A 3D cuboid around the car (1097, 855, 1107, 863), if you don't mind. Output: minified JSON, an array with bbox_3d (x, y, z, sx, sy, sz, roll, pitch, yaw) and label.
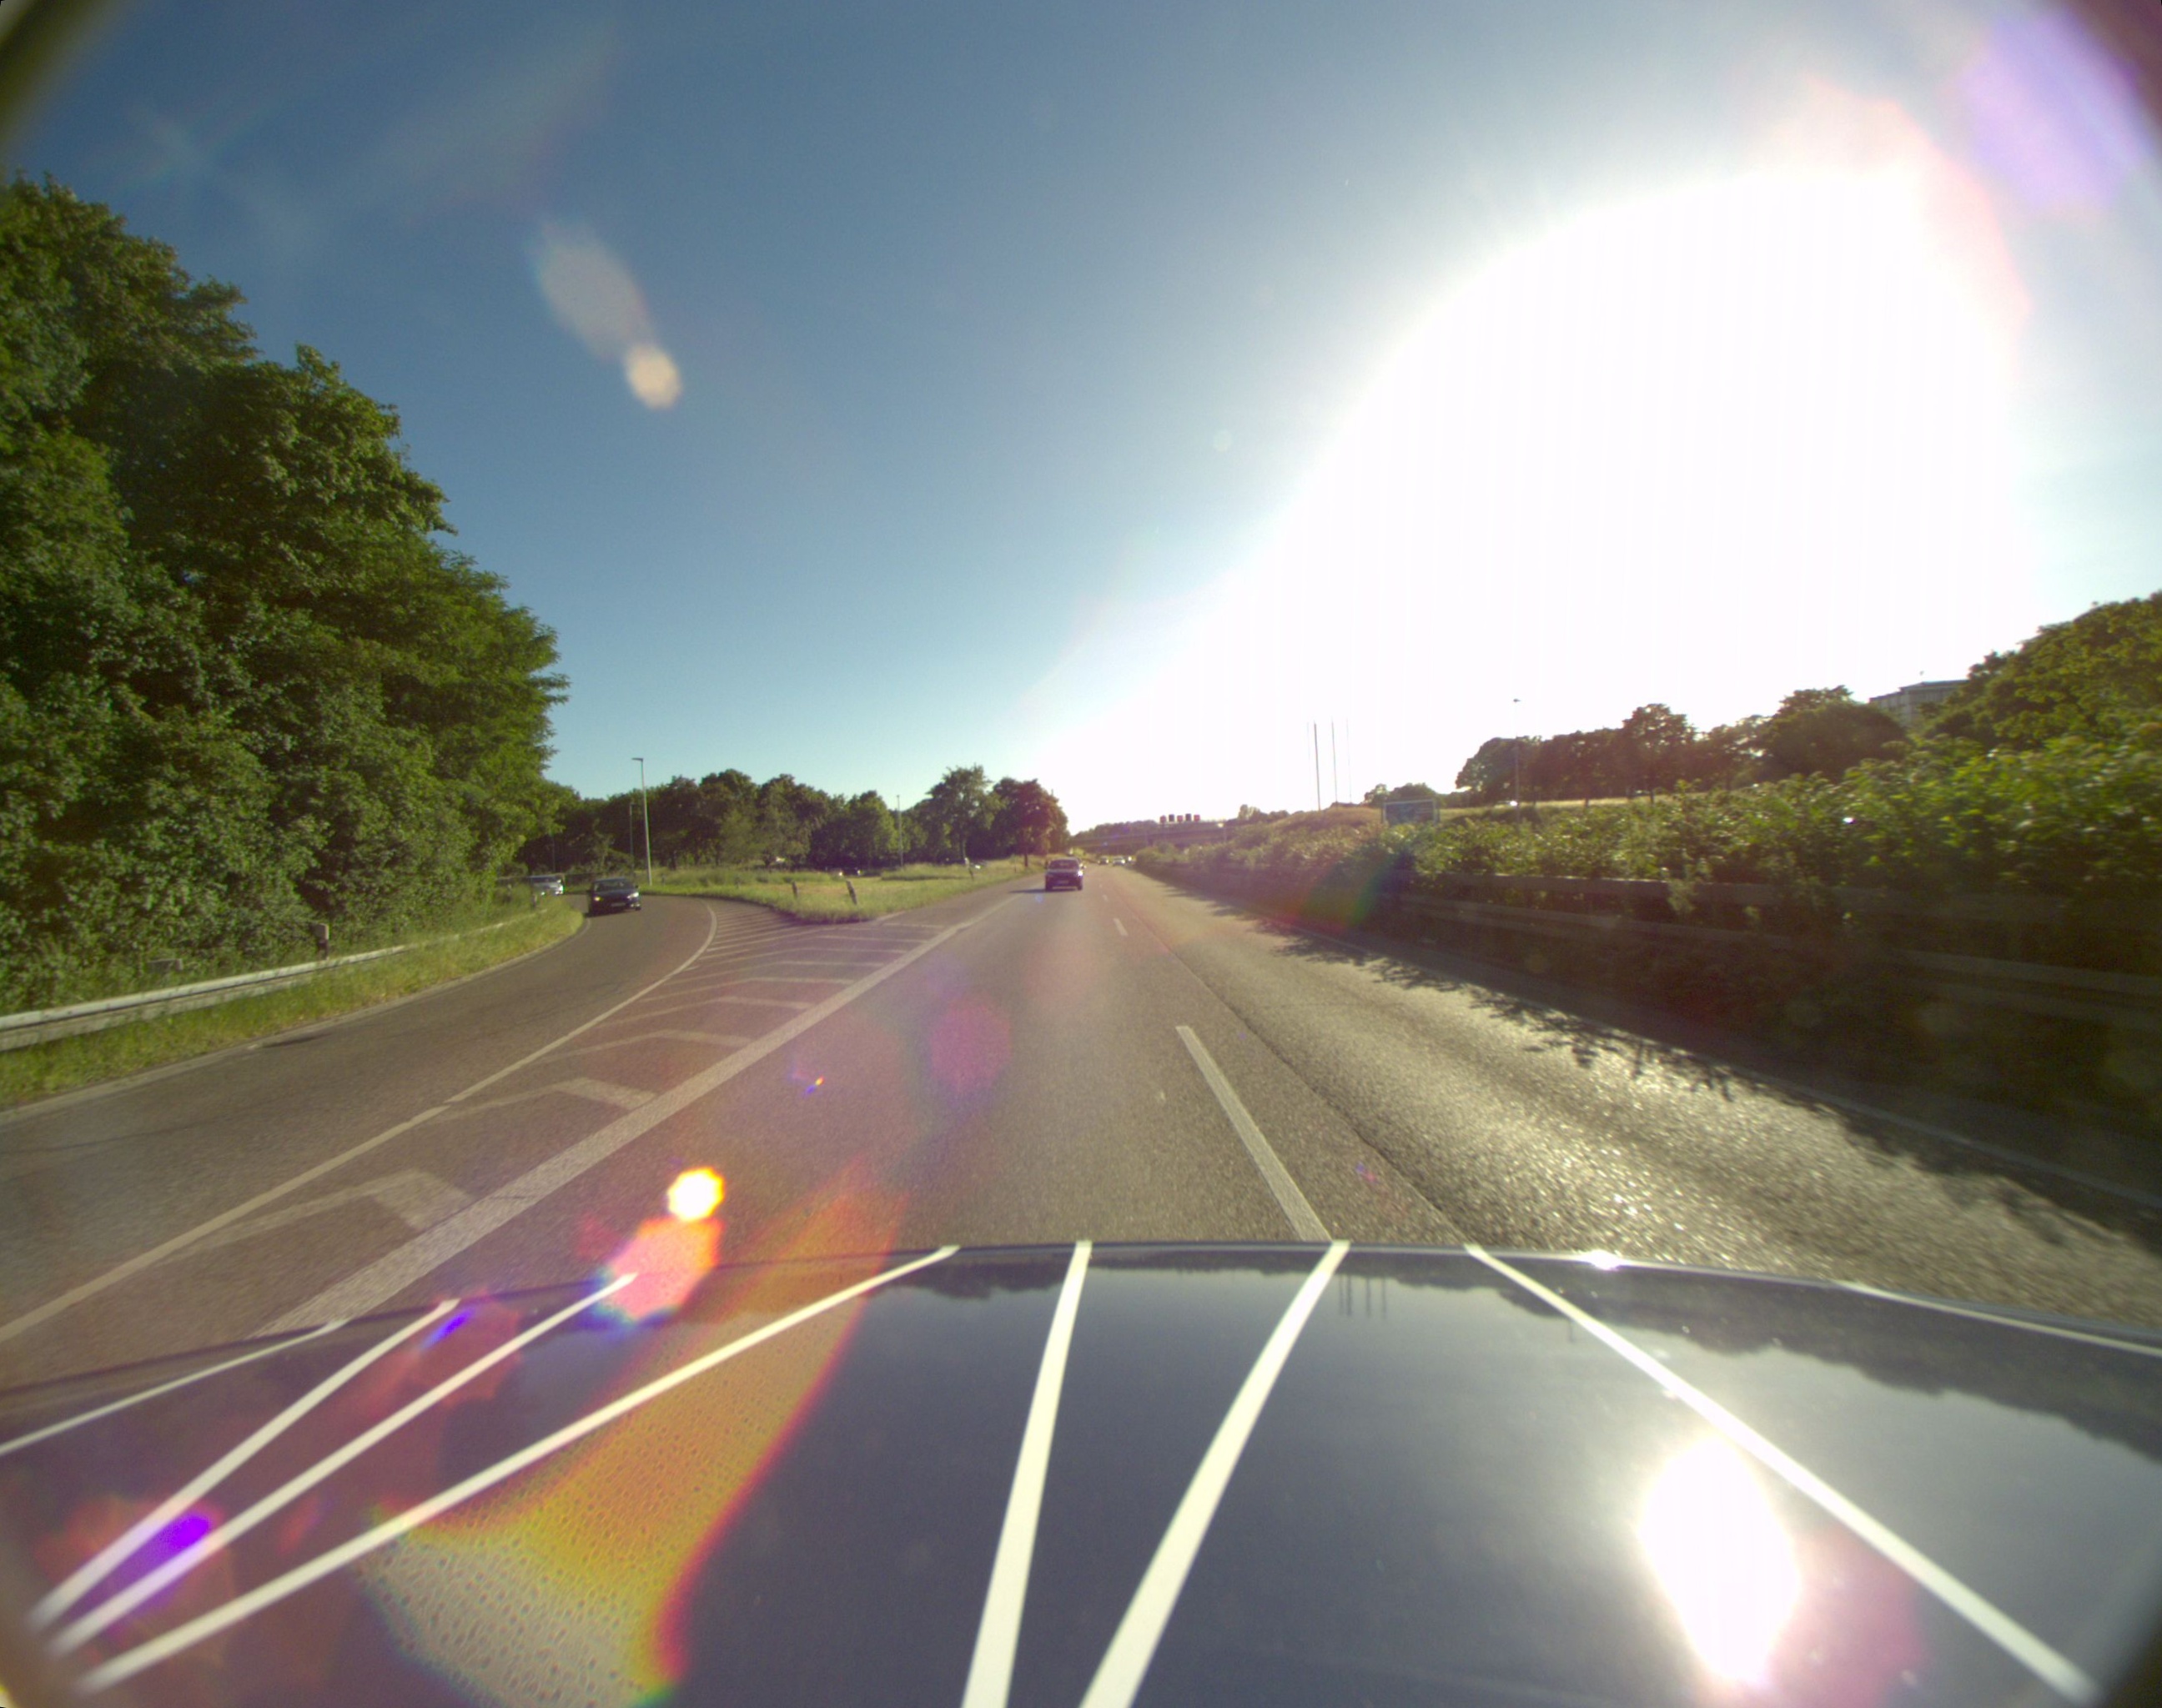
[{"bbox_3d":[3.949,0.948,140.212,1.682,1.412,3.670,-2,0,4],"label":"car"}]

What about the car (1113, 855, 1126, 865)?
[{"bbox_3d":[6.033,0.952,118.783,1.725,1.412,3.669,-2,0,0],"label":"car"}]

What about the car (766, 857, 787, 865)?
[{"bbox_3d":[-63.312,1.523,158.221,1.906,1.567,4.005,-2,0,16],"label":"car"}]

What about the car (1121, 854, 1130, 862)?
[{"bbox_3d":[8.886,0.742,152.384,1.682,1.412,3.670,-2,0,3],"label":"car"}]

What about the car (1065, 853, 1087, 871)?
[{"bbox_3d":[-0.443,0.754,70.613,1.759,1.563,4.522,-1,0,2],"label":"car"}]

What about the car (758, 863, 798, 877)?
[{"bbox_3d":[-45.805,2.451,114.976,5.203,1.855,1.957,-2,1,3],"label":"car"}]

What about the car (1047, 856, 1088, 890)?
[{"bbox_3d":[-0.593,0.889,37.487,1.703,1.497,4.579,-1,0,2],"label":"car"}]

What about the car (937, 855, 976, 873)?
[{"bbox_3d":[-17.907,1.440,109.315,5.042,2.124,2.095,-4,1,11],"label":"car"}]

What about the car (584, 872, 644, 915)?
[{"bbox_3d":[-20.070,1.645,32.604,1.763,1.564,4.133,-7,3,-36],"label":"car"}]

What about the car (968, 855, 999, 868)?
[{"bbox_3d":[-16.579,1.278,129.600,4.801,2.012,2.025,-2,3,1],"label":"car"}]

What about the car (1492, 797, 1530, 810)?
[{"bbox_3d":[80.663,-9.436,142.627,2.550,2.002,6.088,-1,0,-14],"label":"car"}]

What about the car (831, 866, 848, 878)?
[{"bbox_3d":[-30.943,2.274,97.473,1.704,1.454,4.144,-3,0,-14],"label":"car"}]

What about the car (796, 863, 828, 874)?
[{"bbox_3d":[-45.424,2.464,128.361,4.597,1.766,1.945,-1,2,-3],"label":"car"}]

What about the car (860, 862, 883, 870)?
[{"bbox_3d":[-42.681,2.405,154.598,4.120,1.416,1.865,-2,3,1],"label":"car"}]

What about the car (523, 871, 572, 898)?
[{"bbox_3d":[-36.194,2.088,51.524,4.132,1.564,1.763,-3,3,43],"label":"car"}]

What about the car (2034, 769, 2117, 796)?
[{"bbox_3d":[95.460,-6.848,73.030,1.997,2.002,4.942,-2,0,10],"label":"car"}]

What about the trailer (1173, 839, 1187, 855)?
[{"bbox_3d":[26.200,-1.884,201.578,2.654,4.099,10.702,-2,0,4],"label":"trailer"}]

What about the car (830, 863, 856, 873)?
[{"bbox_3d":[-43.969,2.559,140.422,4.120,1.416,1.865,-2,3,1],"label":"car"}]
